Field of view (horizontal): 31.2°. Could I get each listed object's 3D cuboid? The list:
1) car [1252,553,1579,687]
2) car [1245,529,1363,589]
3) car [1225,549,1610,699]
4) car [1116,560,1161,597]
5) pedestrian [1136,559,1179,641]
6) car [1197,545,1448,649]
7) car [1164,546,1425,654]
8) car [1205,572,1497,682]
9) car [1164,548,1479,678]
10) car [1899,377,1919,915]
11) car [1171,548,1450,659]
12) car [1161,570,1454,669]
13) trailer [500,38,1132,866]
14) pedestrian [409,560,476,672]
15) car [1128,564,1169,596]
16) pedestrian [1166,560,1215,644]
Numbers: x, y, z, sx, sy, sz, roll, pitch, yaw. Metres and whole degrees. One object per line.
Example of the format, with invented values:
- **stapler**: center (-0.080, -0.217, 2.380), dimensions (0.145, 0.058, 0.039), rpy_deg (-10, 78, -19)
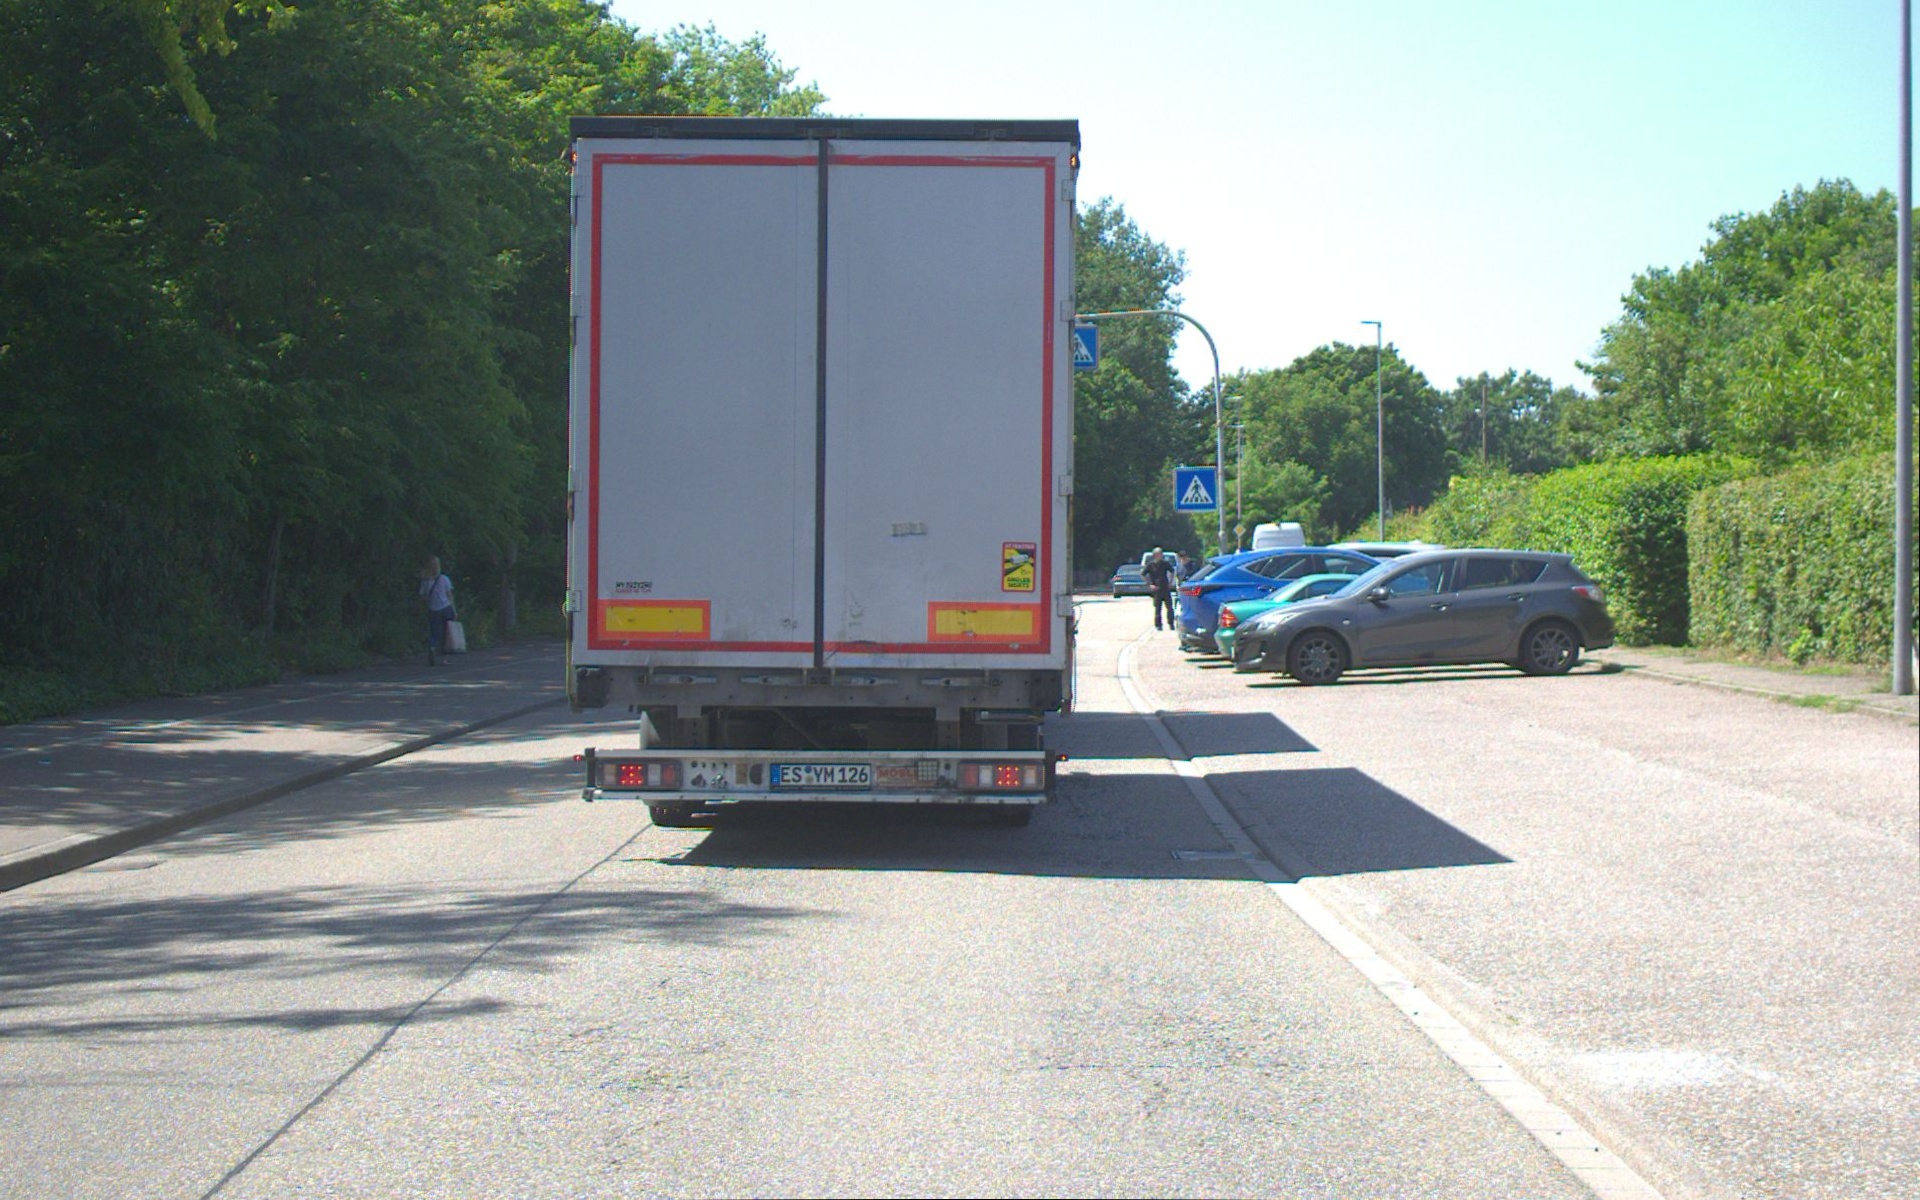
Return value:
- **car**: center (5.636, 0.249, 42.891), dimensions (3.801, 1.450, 1.774), rpy_deg (-3, 0, 1)
- **car**: center (11.942, -1.422, 119.464), dimensions (3.957, 1.792, 1.813), rpy_deg (-3, -2, 6)
- **car**: center (5.241, 0.275, 39.804), dimensions (4.164, 1.490, 1.882), rpy_deg (-3, 0, 1)
- **car**: center (7.231, -0.867, 139.605), dimensions (1.781, 1.481, 4.000), rpy_deg (0, 1, 2)
- **pedestrian**: center (4.489, 0.000, 78.033), dimensions (0.822, 1.828, 0.792), rpy_deg (-3, 0, 8)
- **car**: center (6.172, -0.053, 58.851), dimensions (4.125, 1.651, 1.886), rpy_deg (-2, 0, 3)
- **car**: center (5.936, 0.002, 61.408), dimensions (4.404, 1.692, 1.877), rpy_deg (-3, 0, 0)
- **car**: center (5.195, 0.355, 45.981), dimensions (3.735, 1.264, 1.627), rpy_deg (-3, 0, 3)
- **car**: center (5.089, 0.174, 48.784), dimensions (4.238, 1.628, 1.823), rpy_deg (-2, 0, 1)
- **car**: center (4.341, 0.368, 6.308), dimensions (4.621, 1.842, 1.996), rpy_deg (-2, 1, 0)
- **car**: center (5.543, 0.070, 54.794), dimensions (4.236, 1.648, 1.899), rpy_deg (-1, -1, 1)
- **car**: center (5.199, 0.285, 51.787), dimensions (4.129, 1.434, 1.815), rpy_deg (0, 0, -4)
- **trailer**: center (-0.619, -0.787, 22.810), dimensions (3.113, 4.088, 11.536), rpy_deg (0, 1, 1)
- **pedestrian**: center (-7.576, 0.225, 50.357), dimensions (0.828, 1.617, 0.783), rpy_deg (1, 0, 0)
- **car**: center (8.554, -0.933, 156.353), dimensions (1.618, 1.419, 3.669), rpy_deg (0, 1, -1)
- **pedestrian**: center (5.076, 0.034, 75.764), dimensions (0.908, 1.792, 0.935), rpy_deg (-3, 0, 8)
